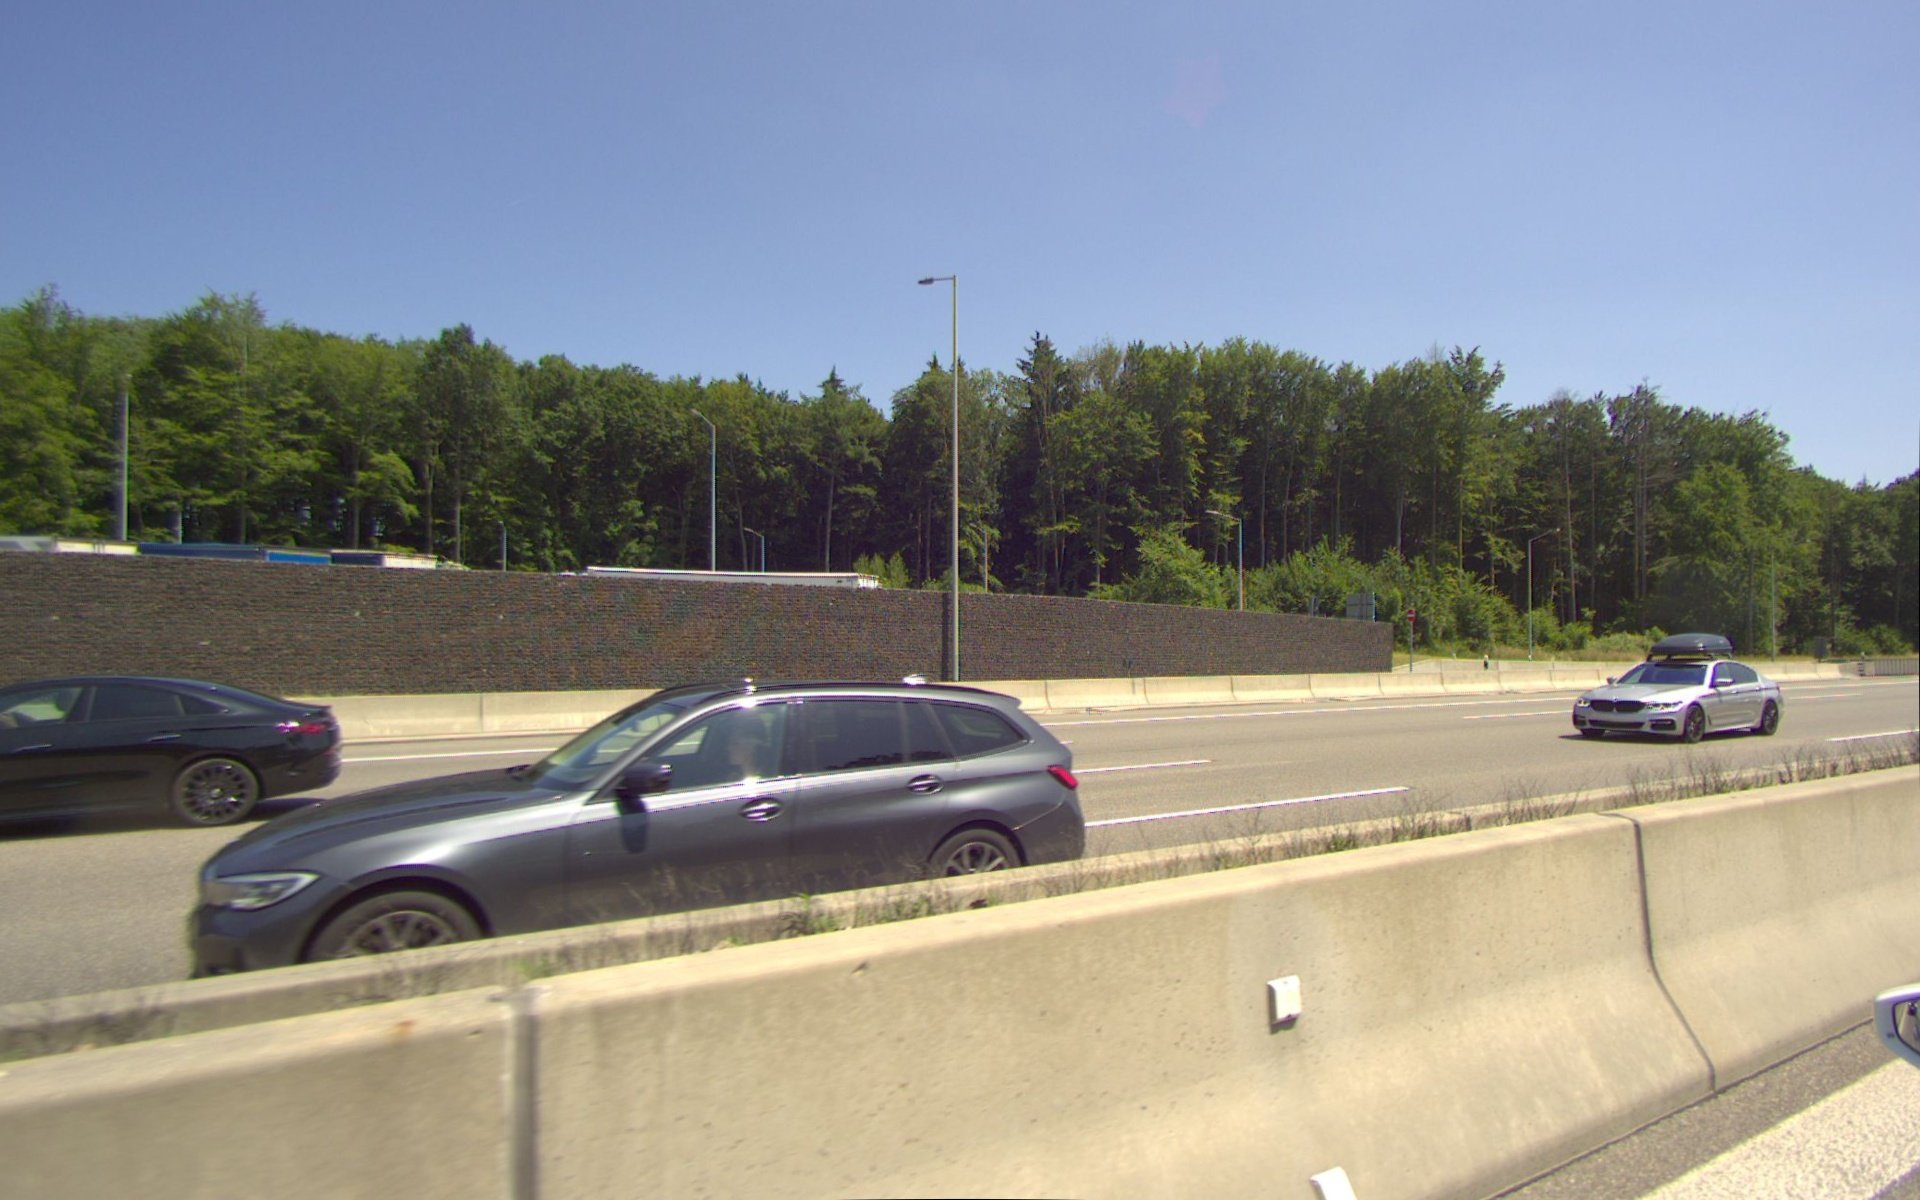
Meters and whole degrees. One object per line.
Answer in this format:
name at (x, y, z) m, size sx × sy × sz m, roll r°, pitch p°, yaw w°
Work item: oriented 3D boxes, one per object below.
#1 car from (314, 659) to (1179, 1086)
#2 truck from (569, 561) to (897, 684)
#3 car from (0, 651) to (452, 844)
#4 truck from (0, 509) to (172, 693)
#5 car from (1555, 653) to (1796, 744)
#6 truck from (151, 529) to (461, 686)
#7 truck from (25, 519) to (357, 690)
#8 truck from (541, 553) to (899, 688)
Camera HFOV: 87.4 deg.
car at (-1.029, 1.160, 5.875) m, size 4.541 × 1.567 × 1.861 m, roll 2°, pitch -2°, yaw -32°
truck at (-11.422, 1.129, 50.190) m, size 16.374 × 5.686 × 3.225 m, roll 0°, pitch -2°, yaw 15°
car at (-8.303, 1.351, 9.995) m, size 5.688 × 1.642 × 1.984 m, roll 2°, pitch -2°, yaw -31°
truck at (-32.764, 0.093, 34.063) m, size 11.305 × 5.686 × 3.230 m, roll 0°, pitch -2°, yaw 15°
car at (13.711, 1.784, 19.177) m, size 4.963 × 1.506 × 1.983 m, roll 2°, pitch -4°, yaw -32°
truck at (-25.562, 0.347, 39.337) m, size 11.305 × 5.686 × 3.370 m, roll 0°, pitch -2°, yaw 15°
truck at (-27.874, 0.212, 36.464) m, size 11.305 × 5.686 × 3.230 m, roll 0°, pitch -2°, yaw 15°
truck at (-11.155, 0.960, 46.376) m, size 16.374 × 5.686 × 3.453 m, roll 0°, pitch -2°, yaw 15°
